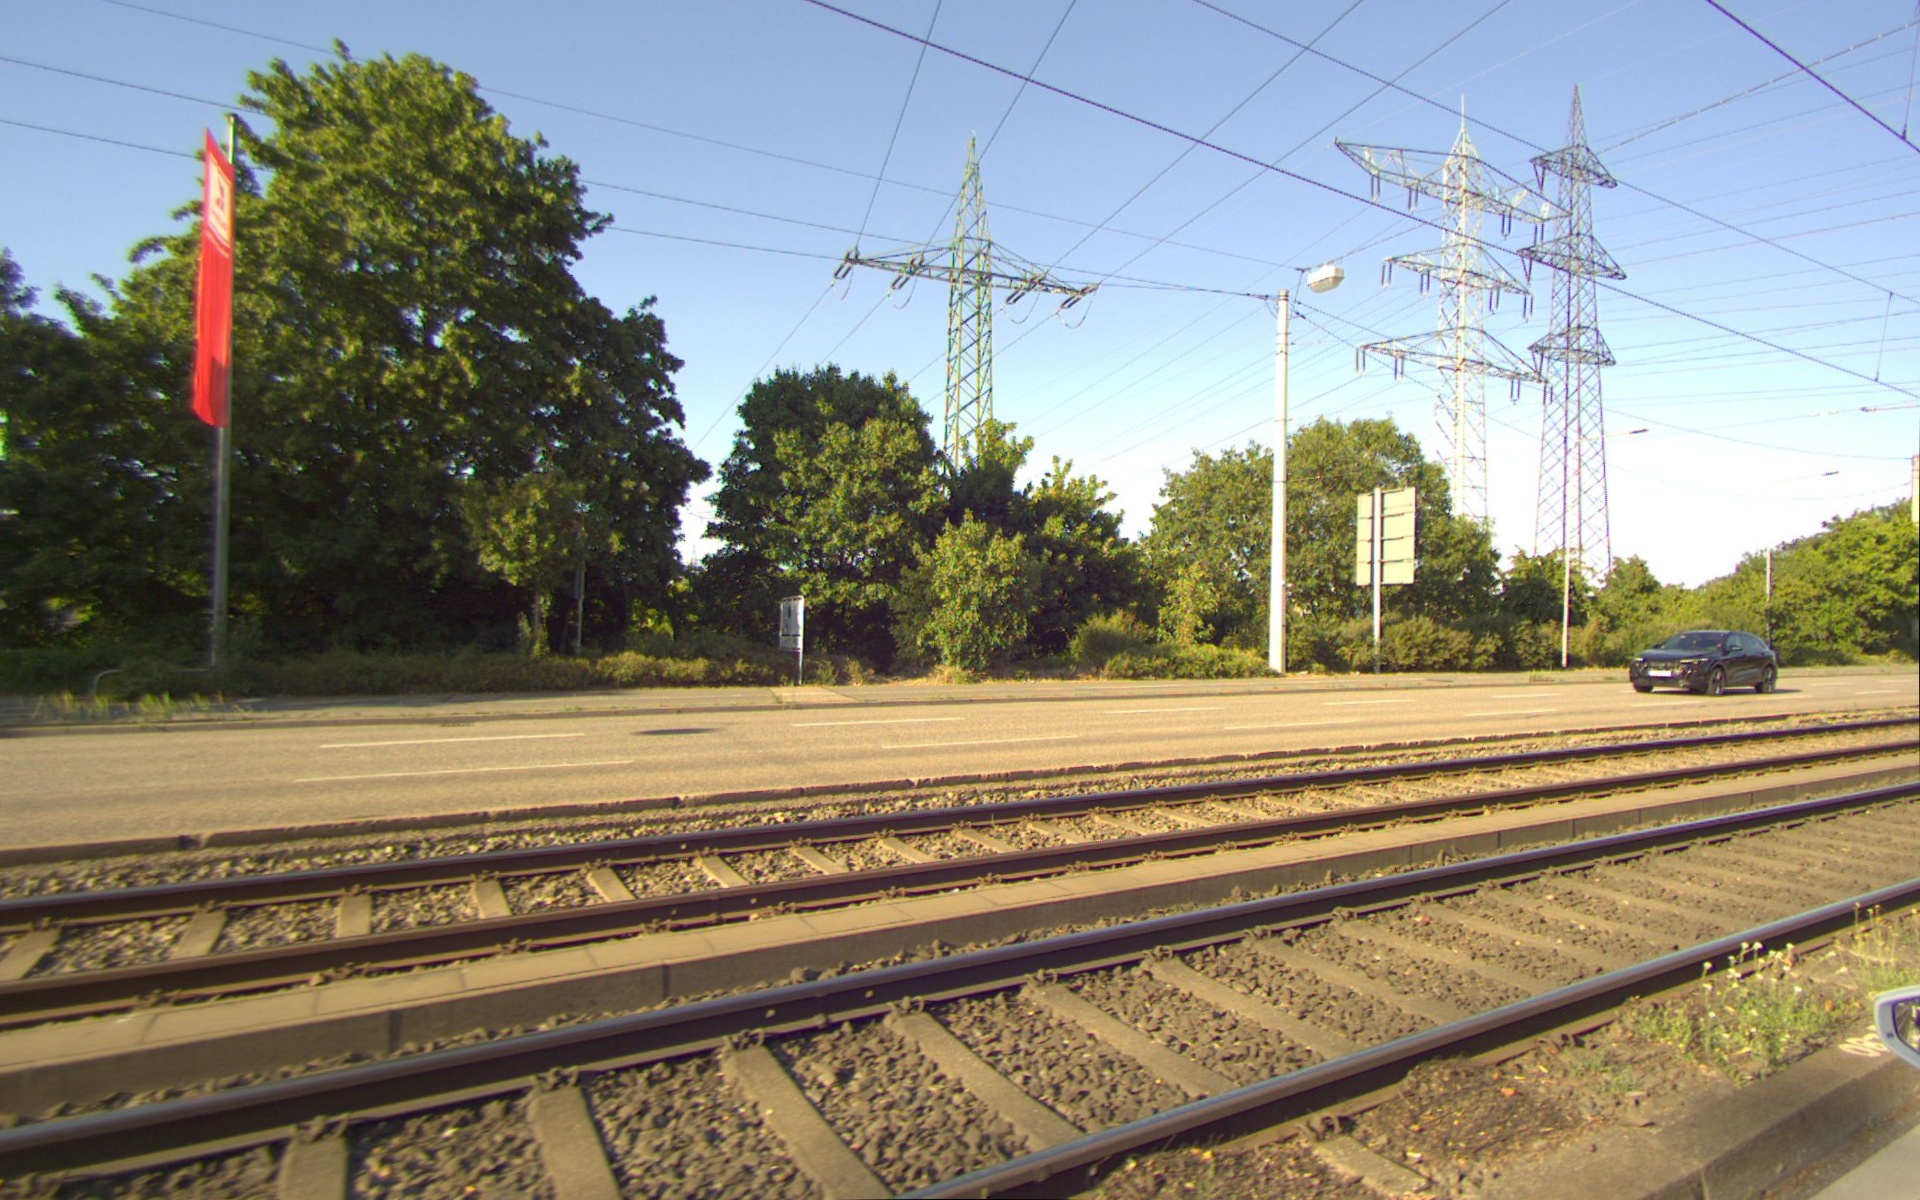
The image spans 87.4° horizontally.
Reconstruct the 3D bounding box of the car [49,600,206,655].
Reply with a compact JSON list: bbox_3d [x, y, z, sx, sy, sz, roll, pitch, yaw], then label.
[{"bbox_3d":[-28.418,0.943,34.449,3.850,1.706,1.778,2,1,-30],"label":"car"}]

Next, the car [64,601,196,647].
[{"bbox_3d":[-33.799,0.993,41.054,3.850,1.706,1.778,2,1,-30],"label":"car"}]

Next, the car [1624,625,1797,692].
[{"bbox_3d":[19.836,1.527,26.522,4.627,1.646,1.985,2,-2,-29],"label":"car"}]
